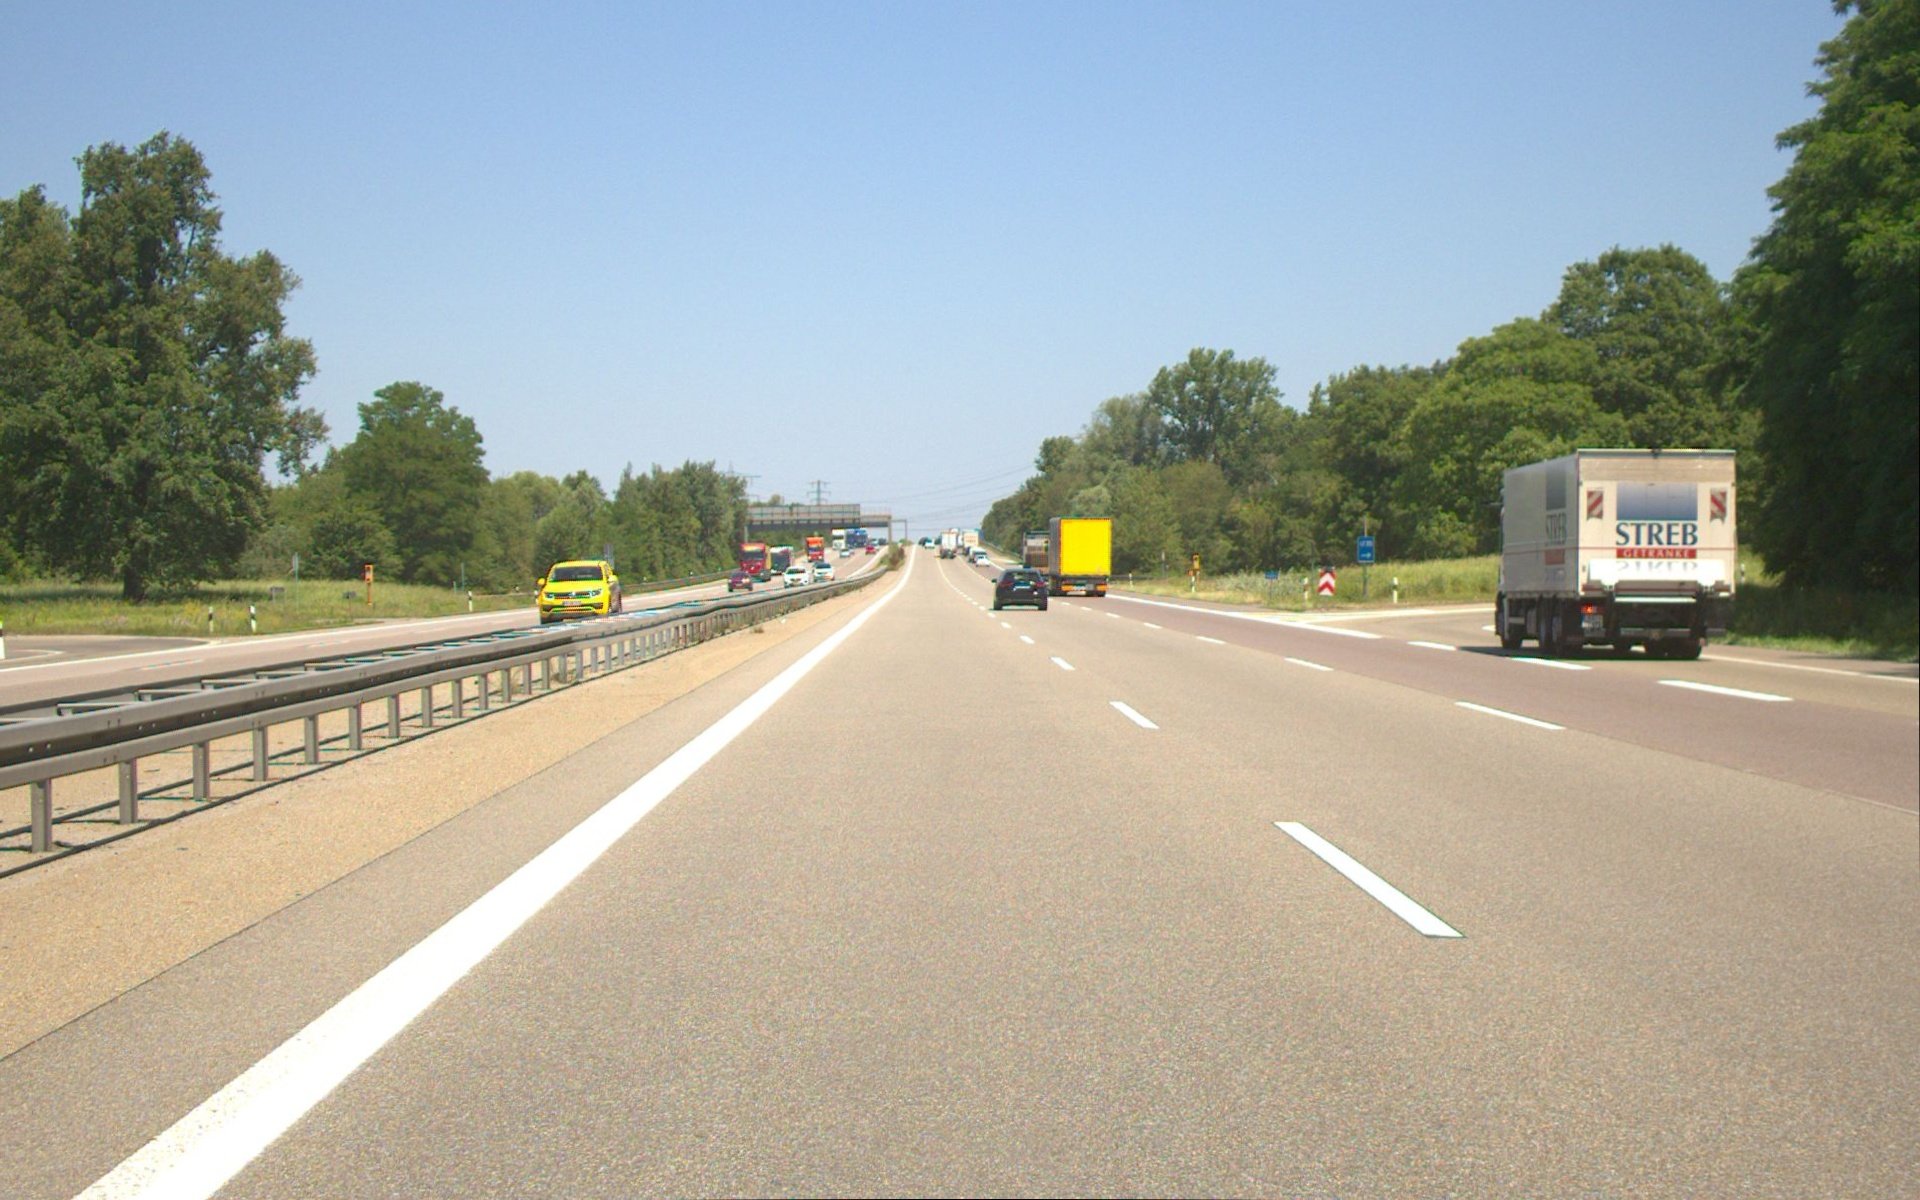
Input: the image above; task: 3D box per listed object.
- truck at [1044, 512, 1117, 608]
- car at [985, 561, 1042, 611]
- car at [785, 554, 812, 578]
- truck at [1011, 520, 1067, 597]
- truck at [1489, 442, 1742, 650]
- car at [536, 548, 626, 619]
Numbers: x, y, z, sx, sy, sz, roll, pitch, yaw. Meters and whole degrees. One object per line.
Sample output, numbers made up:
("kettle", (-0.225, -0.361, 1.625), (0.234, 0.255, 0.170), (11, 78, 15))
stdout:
("truck", (6.291, -2.104, 182.057), (3.377, 4.864, 15.086), (1, 1, 0))
("car", (1.838, -0.489, 118.701), (1.827, 1.700, 4.000), (0, 1, -1))
("car", (-12.010, -2.523, 255.772), (1.762, 1.687, 4.819), (-1, 1, 0))
("truck", (5.159, -2.738, 227.422), (3.367, 4.864, 15.086), (1, 1, 0))
("truck", (11.294, -0.917, 60.288), (3.028, 3.308, 10.769), (1, 1, 4))
("car", (-10.663, -0.479, 97.098), (1.993, 1.957, 5.211), (0, 1, -1))
